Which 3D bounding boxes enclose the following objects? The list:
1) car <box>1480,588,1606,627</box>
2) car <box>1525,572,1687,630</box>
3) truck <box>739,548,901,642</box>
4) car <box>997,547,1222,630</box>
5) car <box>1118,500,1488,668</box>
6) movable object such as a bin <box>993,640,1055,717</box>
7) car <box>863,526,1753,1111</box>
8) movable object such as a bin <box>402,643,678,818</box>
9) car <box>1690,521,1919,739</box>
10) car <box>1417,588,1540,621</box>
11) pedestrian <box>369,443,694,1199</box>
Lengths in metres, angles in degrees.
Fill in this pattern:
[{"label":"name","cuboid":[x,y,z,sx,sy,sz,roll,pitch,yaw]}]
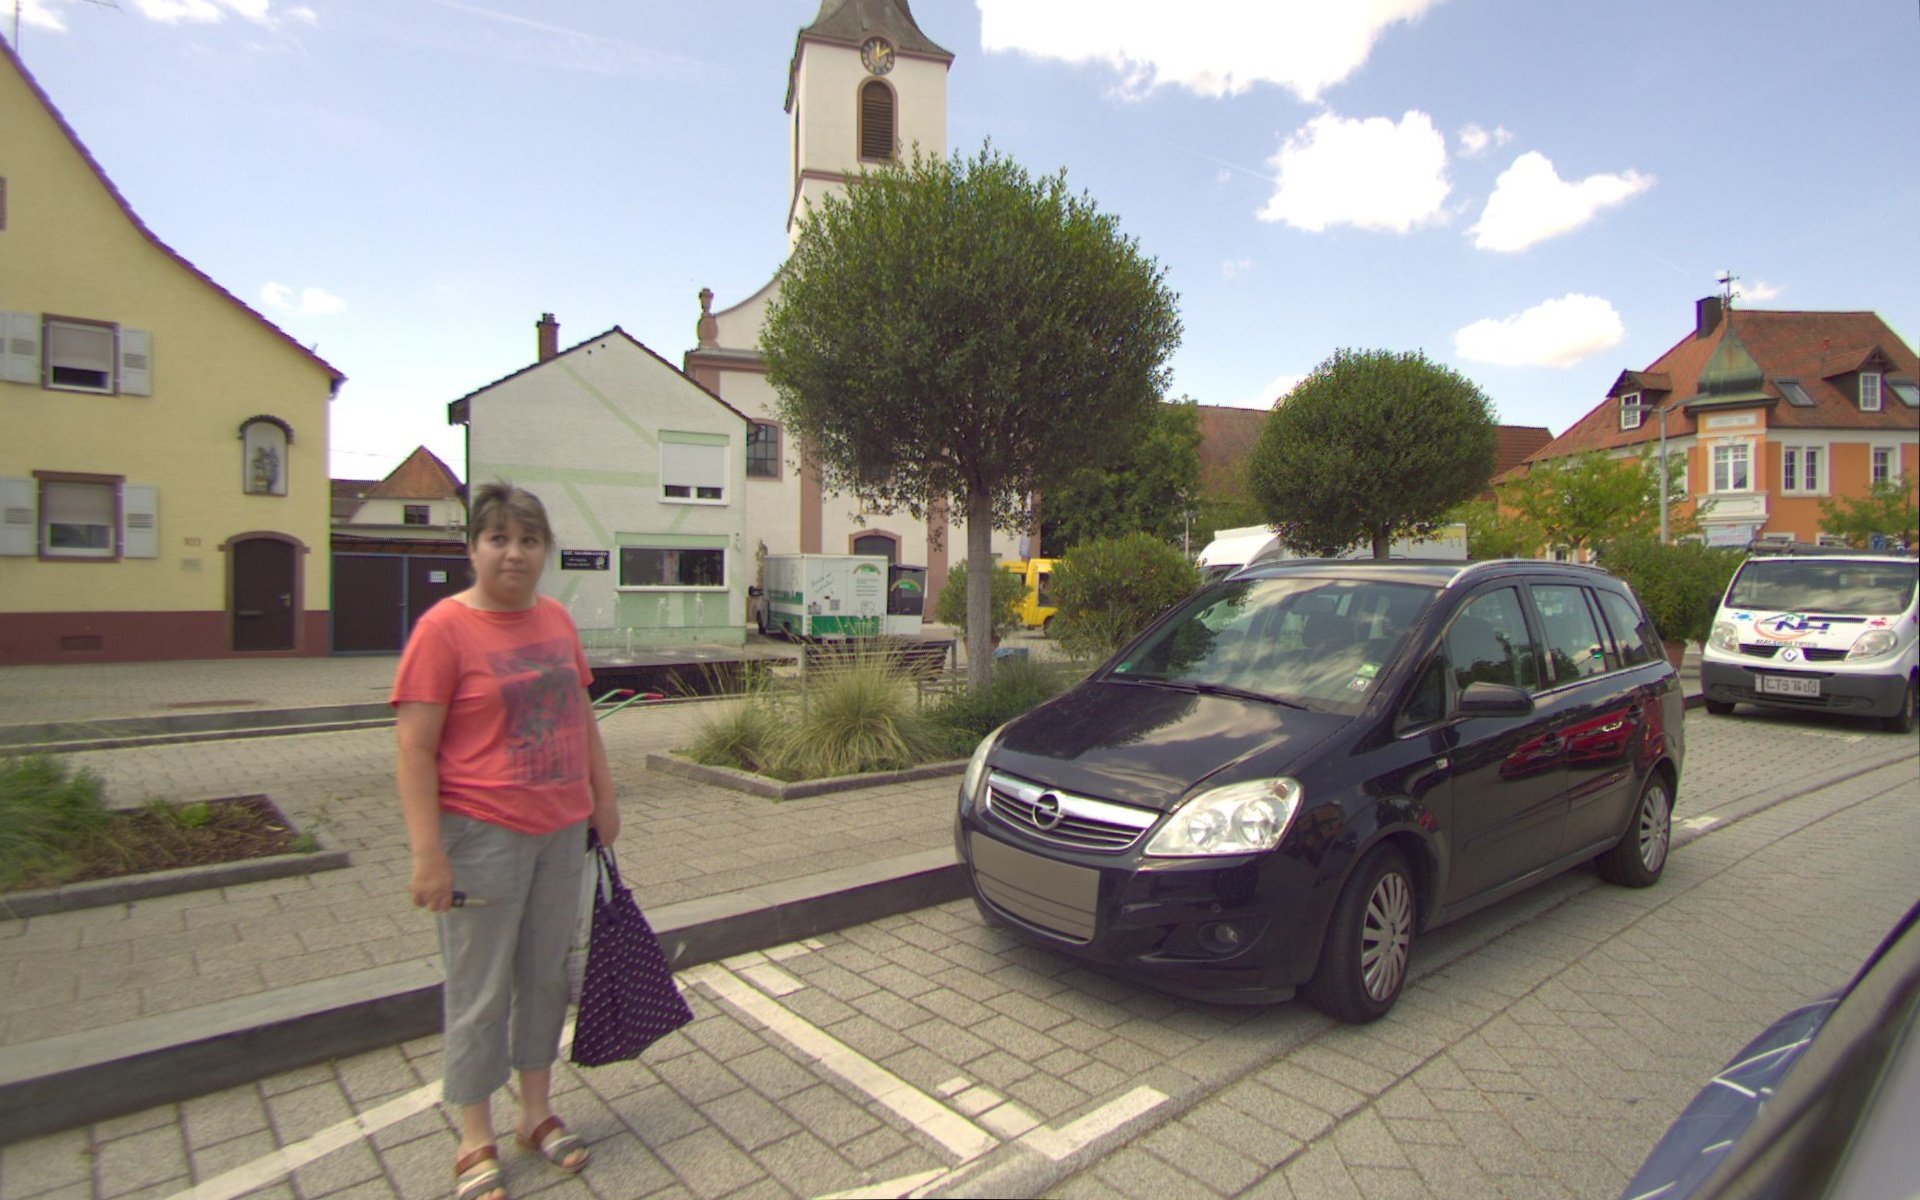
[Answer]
[{"label":"car","cuboid":[23.325,0.304,40.487,4.623,1.503,1.628,0,0,-16]},{"label":"car","cuboid":[23.950,0.037,37.539,5.379,2.039,2.004,0,0,-16]},{"label":"truck","cuboid":[-4.469,-0.147,30.967,2.897,2.529,6.835,0,0,-26]},{"label":"car","cuboid":[4.720,-0.348,32.435,6.849,2.508,2.647,0,0,9]},{"label":"car","cuboid":[6.958,-0.363,20.562,6.964,3.000,2.767,-1,1,-21]},{"label":"movable object such as a bin","cuboid":[0.668,0.813,10.616,0.384,0.742,0.567,0,0,-35]},{"label":"car","cuboid":[1.875,0.540,4.735,4.336,1.583,1.775,0,3,-37]},{"label":"movable object such as a bin","cuboid":[-2.561,0.737,6.230,1.411,0.877,0.736,-1,0,-41]},{"label":"car","cuboid":[11.058,0.254,12.518,5.008,2.204,1.948,0,2,-38]},{"label":"car","cuboid":[23.792,0.215,46.441,5.017,1.460,2.004,0,0,-16]},{"label":"pedestrian","cuboid":[-1.055,0.507,2.459,0.609,1.649,0.641,0,0,-35]}]
